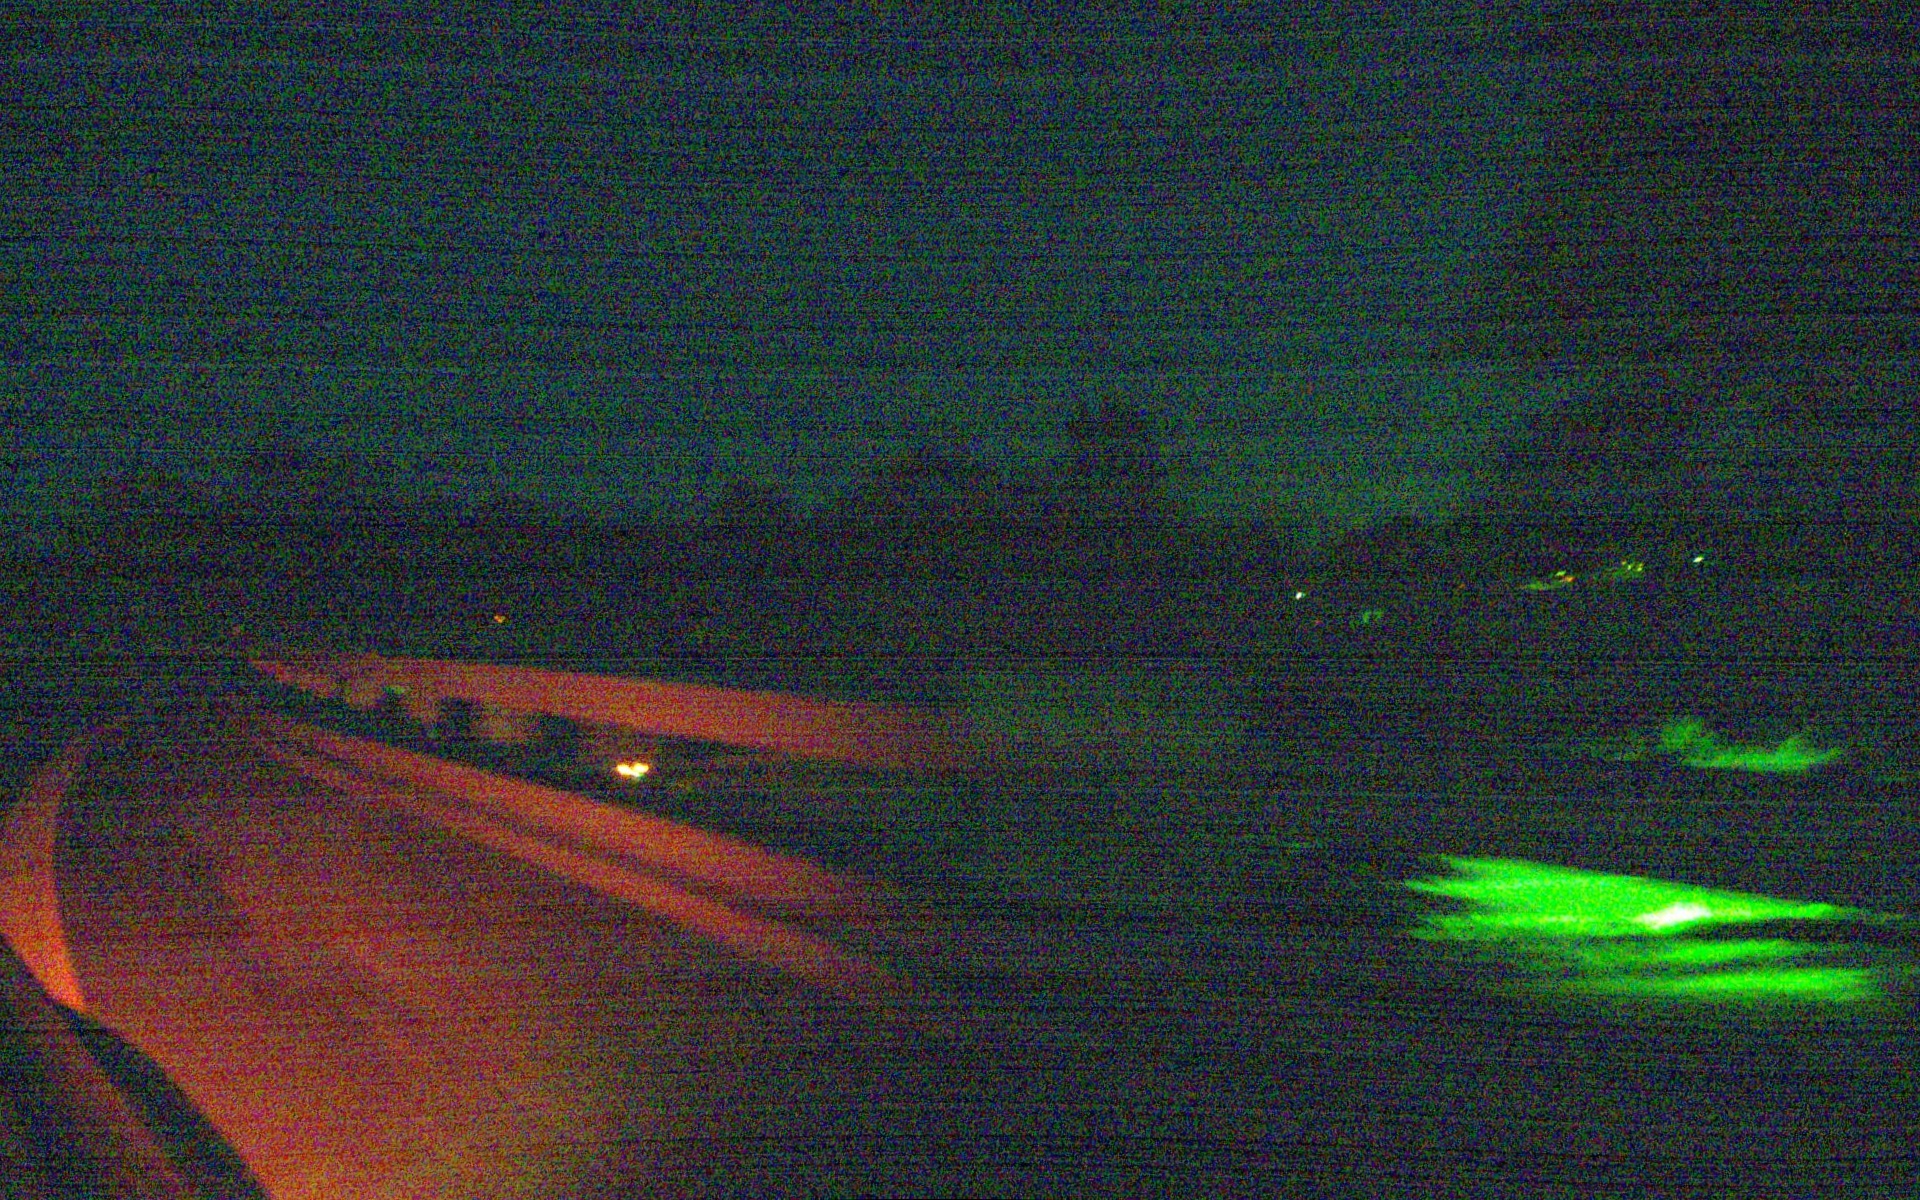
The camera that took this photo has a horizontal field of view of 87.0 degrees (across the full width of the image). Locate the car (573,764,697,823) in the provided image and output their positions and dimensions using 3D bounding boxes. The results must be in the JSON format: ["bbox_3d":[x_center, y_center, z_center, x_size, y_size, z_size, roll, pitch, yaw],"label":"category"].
[{"bbox_3d":[-13.567,8.069,42.361,4.562,2.029,1.996,-1,0,7],"label":"car"}]
